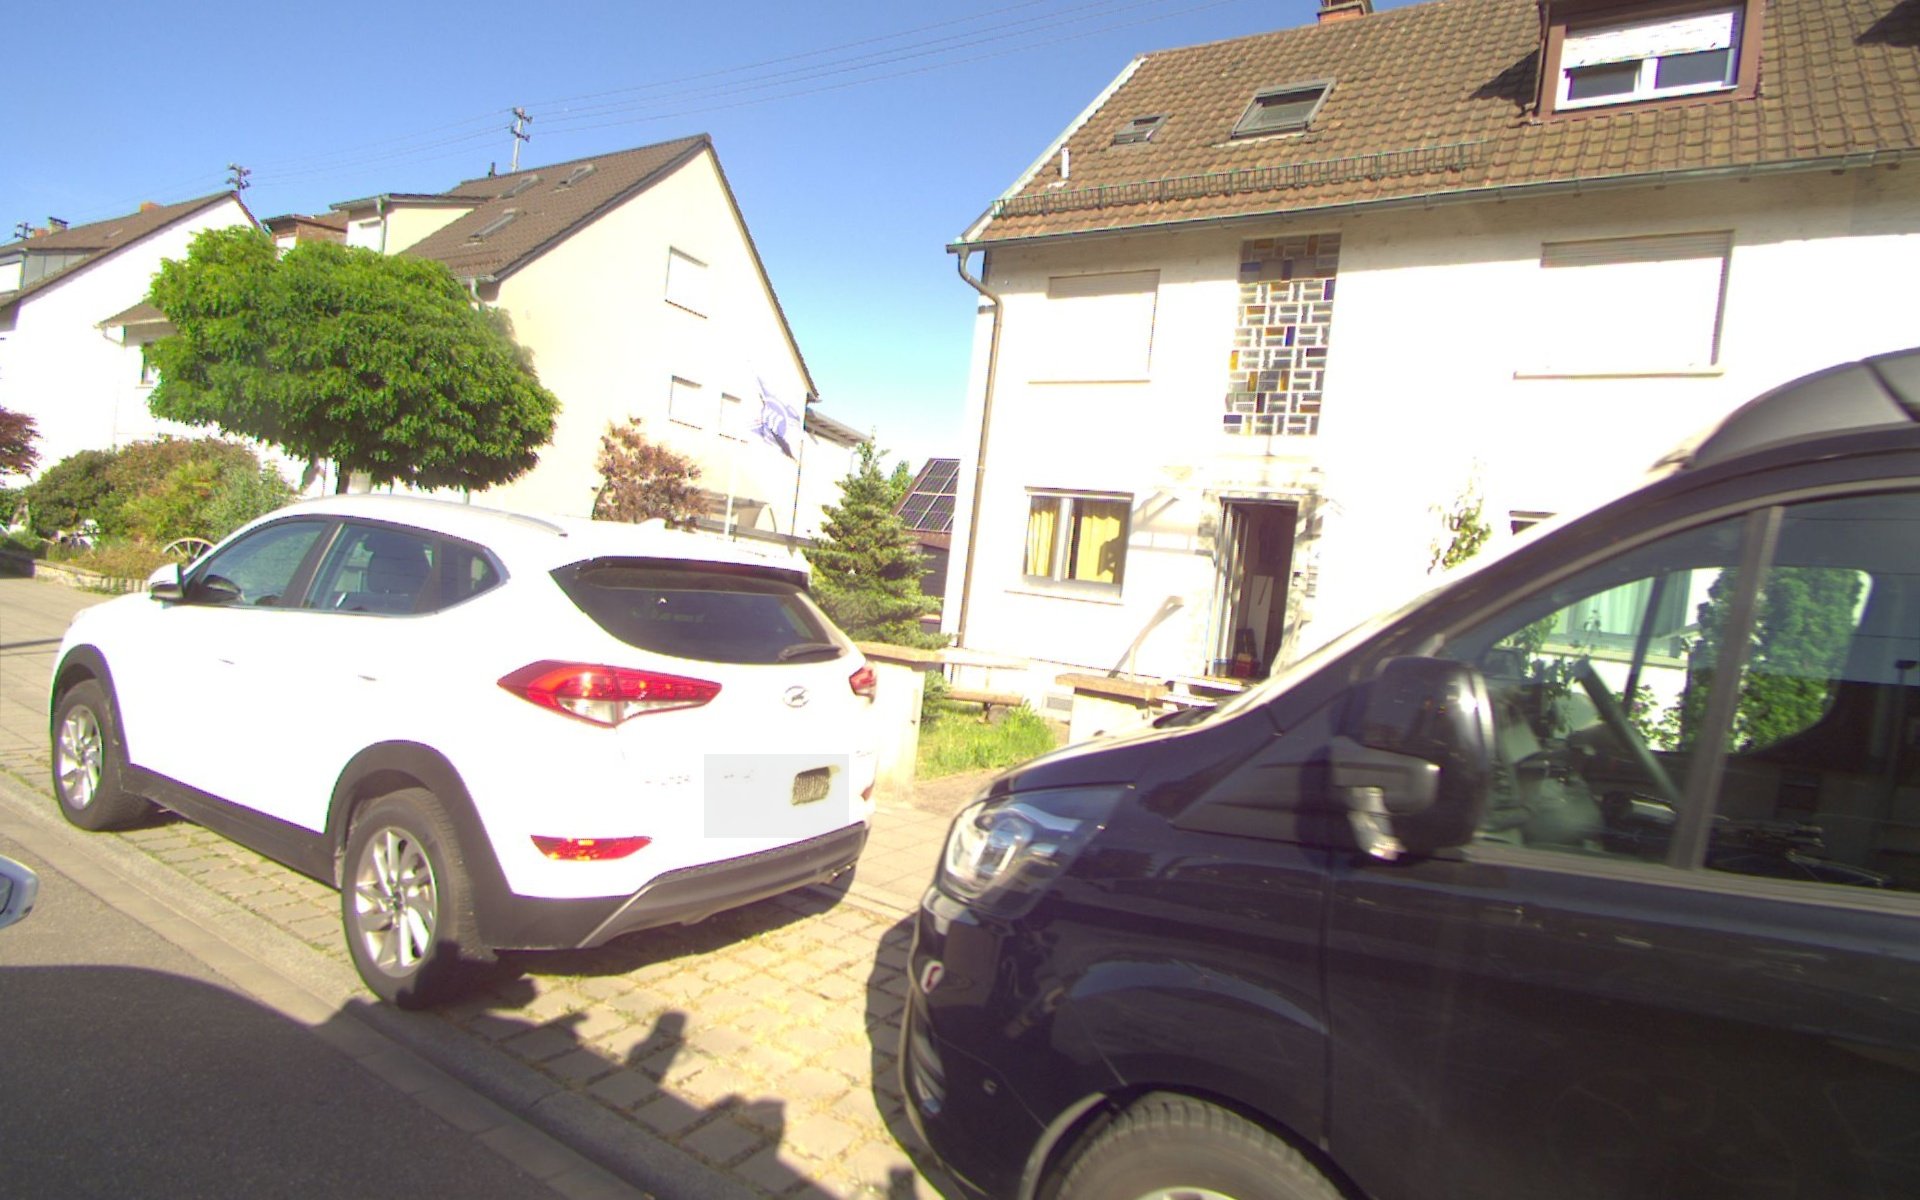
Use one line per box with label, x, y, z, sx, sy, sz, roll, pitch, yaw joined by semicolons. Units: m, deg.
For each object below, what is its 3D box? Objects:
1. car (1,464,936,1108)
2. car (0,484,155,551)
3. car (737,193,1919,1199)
car;-2.418;0.403;4.575;4.247;1.667;1.726;6;1;31
car;-26.687;-2.462;29.229;1.875;1.496;4.718;6;0;30
car;2.321;0.706;1.681;5.246;2.172;1.961;7;2;31
